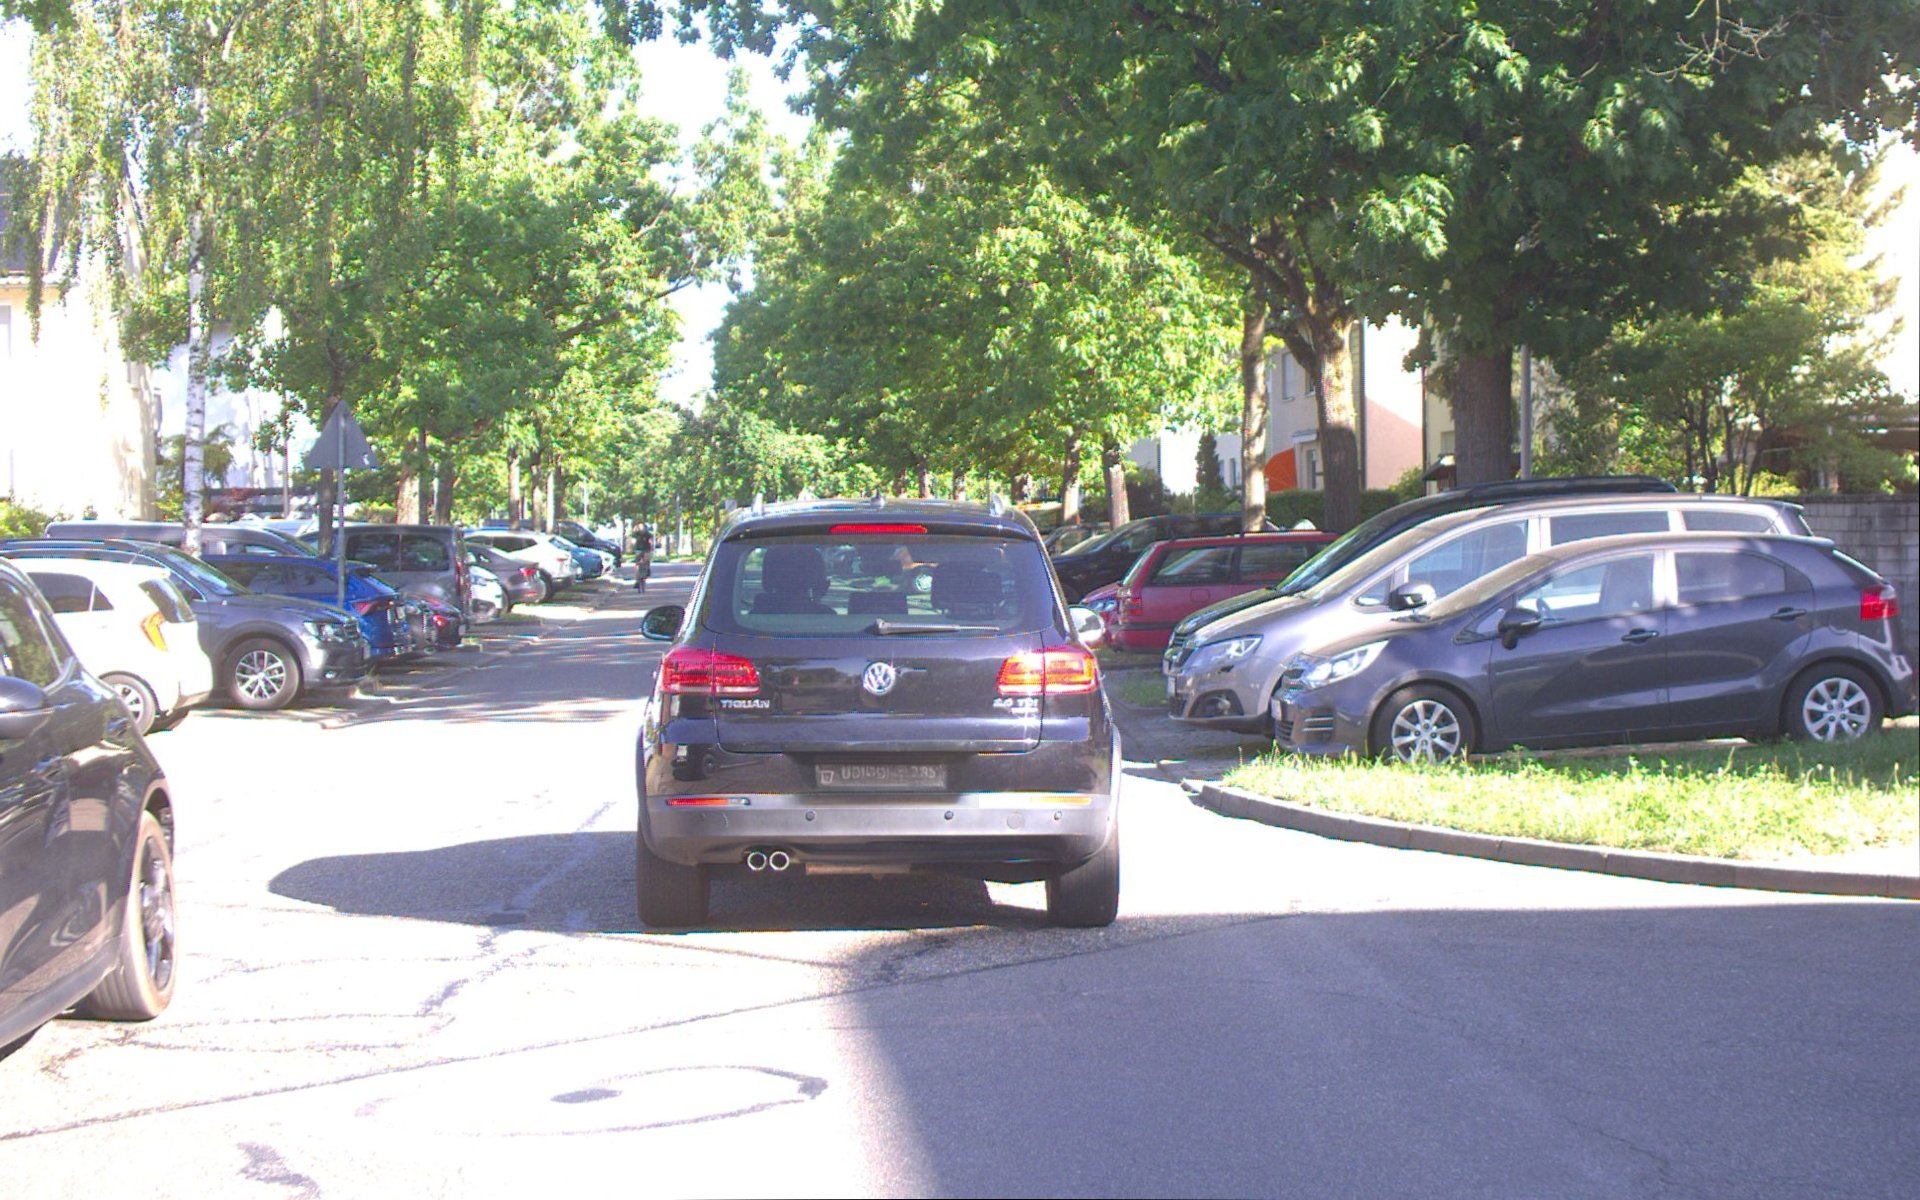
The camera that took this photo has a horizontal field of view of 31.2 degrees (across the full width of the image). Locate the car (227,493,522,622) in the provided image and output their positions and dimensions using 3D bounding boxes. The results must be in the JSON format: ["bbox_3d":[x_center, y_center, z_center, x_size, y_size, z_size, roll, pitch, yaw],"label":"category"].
[{"bbox_3d":[-9.039,-0.651,53.333,4.389,1.932,1.579,-1,0,-6],"label":"car"}]

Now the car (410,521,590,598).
[{"bbox_3d":[-10.551,-0.942,78.691,3.986,1.678,2.001,-1,1,-9],"label":"car"}]

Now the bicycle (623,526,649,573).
[{"bbox_3d":[-8.321,-1.298,88.347,0.637,1.159,1.741,-1,-1,-6],"label":"bicycle"}]

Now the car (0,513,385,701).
[{"bbox_3d":[-7.758,0.048,33.808,3.986,1.725,2.000,-1,1,-5],"label":"car"}]

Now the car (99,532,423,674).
[{"bbox_3d":[-7.760,0.013,38.396,3.370,1.485,1.644,-1,1,-6],"label":"car"}]

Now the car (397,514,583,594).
[{"bbox_3d":[-10.447,-1.034,76.289,3.986,1.678,1.924,-1,1,-9],"label":"car"}]

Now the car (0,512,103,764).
[{"bbox_3d":[-8.153,0.251,23.688,3.987,1.664,2.000,-1,1,-1],"label":"car"}]

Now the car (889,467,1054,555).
[{"bbox_3d":[0.259,-2.176,84.332,3.987,2.007,2.000,-1,-1,-1],"label":"car"}]

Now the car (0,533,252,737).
[{"bbox_3d":[-8.184,0.278,29.031,3.987,1.634,2.000,-1,1,0],"label":"car"}]

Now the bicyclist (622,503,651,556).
[{"bbox_3d":[-8.313,-1.809,88.353,0.700,1.341,0.506,-1,-1,-6],"label":"bicyclist"}]

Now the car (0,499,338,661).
[{"bbox_3d":[-9.564,-0.250,41.210,3.986,1.830,1.638,-1,1,-6],"label":"car"}]

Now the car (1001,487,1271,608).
[{"bbox_3d":[2.669,-0.820,52.775,3.987,1.769,1.790,-1,1,-1],"label":"car"}]

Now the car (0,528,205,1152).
[{"bbox_3d":[-3.426,0.619,9.511,1.909,1.550,4.001,-3,1,-3],"label":"car"}]

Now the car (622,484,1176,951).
[{"bbox_3d":[-0.431,0.363,14.474,1.929,1.648,4.515,1,1,-6],"label":"car"}]

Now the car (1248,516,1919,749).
[{"bbox_3d":[3.954,0.178,22.034,3.986,1.364,1.847,-1,1,-2],"label":"car"}]

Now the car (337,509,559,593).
[{"bbox_3d":[-9.851,-0.936,66.370,3.987,1.493,2.000,-1,-1,-1],"label":"car"}]

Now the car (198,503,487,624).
[{"bbox_3d":[-9.096,-0.526,50.860,3.986,1.714,1.821,-1,0,-2],"label":"car"}]

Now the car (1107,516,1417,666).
[{"bbox_3d":[3.176,-0.112,36.368,3.043,1.502,1.247,-1,1,-8],"label":"car"}]

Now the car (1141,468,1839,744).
[{"bbox_3d":[3.697,0.016,24.523,4.632,1.803,1.824,-1,1,-2],"label":"car"}]

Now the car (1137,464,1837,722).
[{"bbox_3d":[4.134,-0.081,27.574,5.259,1.939,2.000,-1,1,-2],"label":"car"}]
